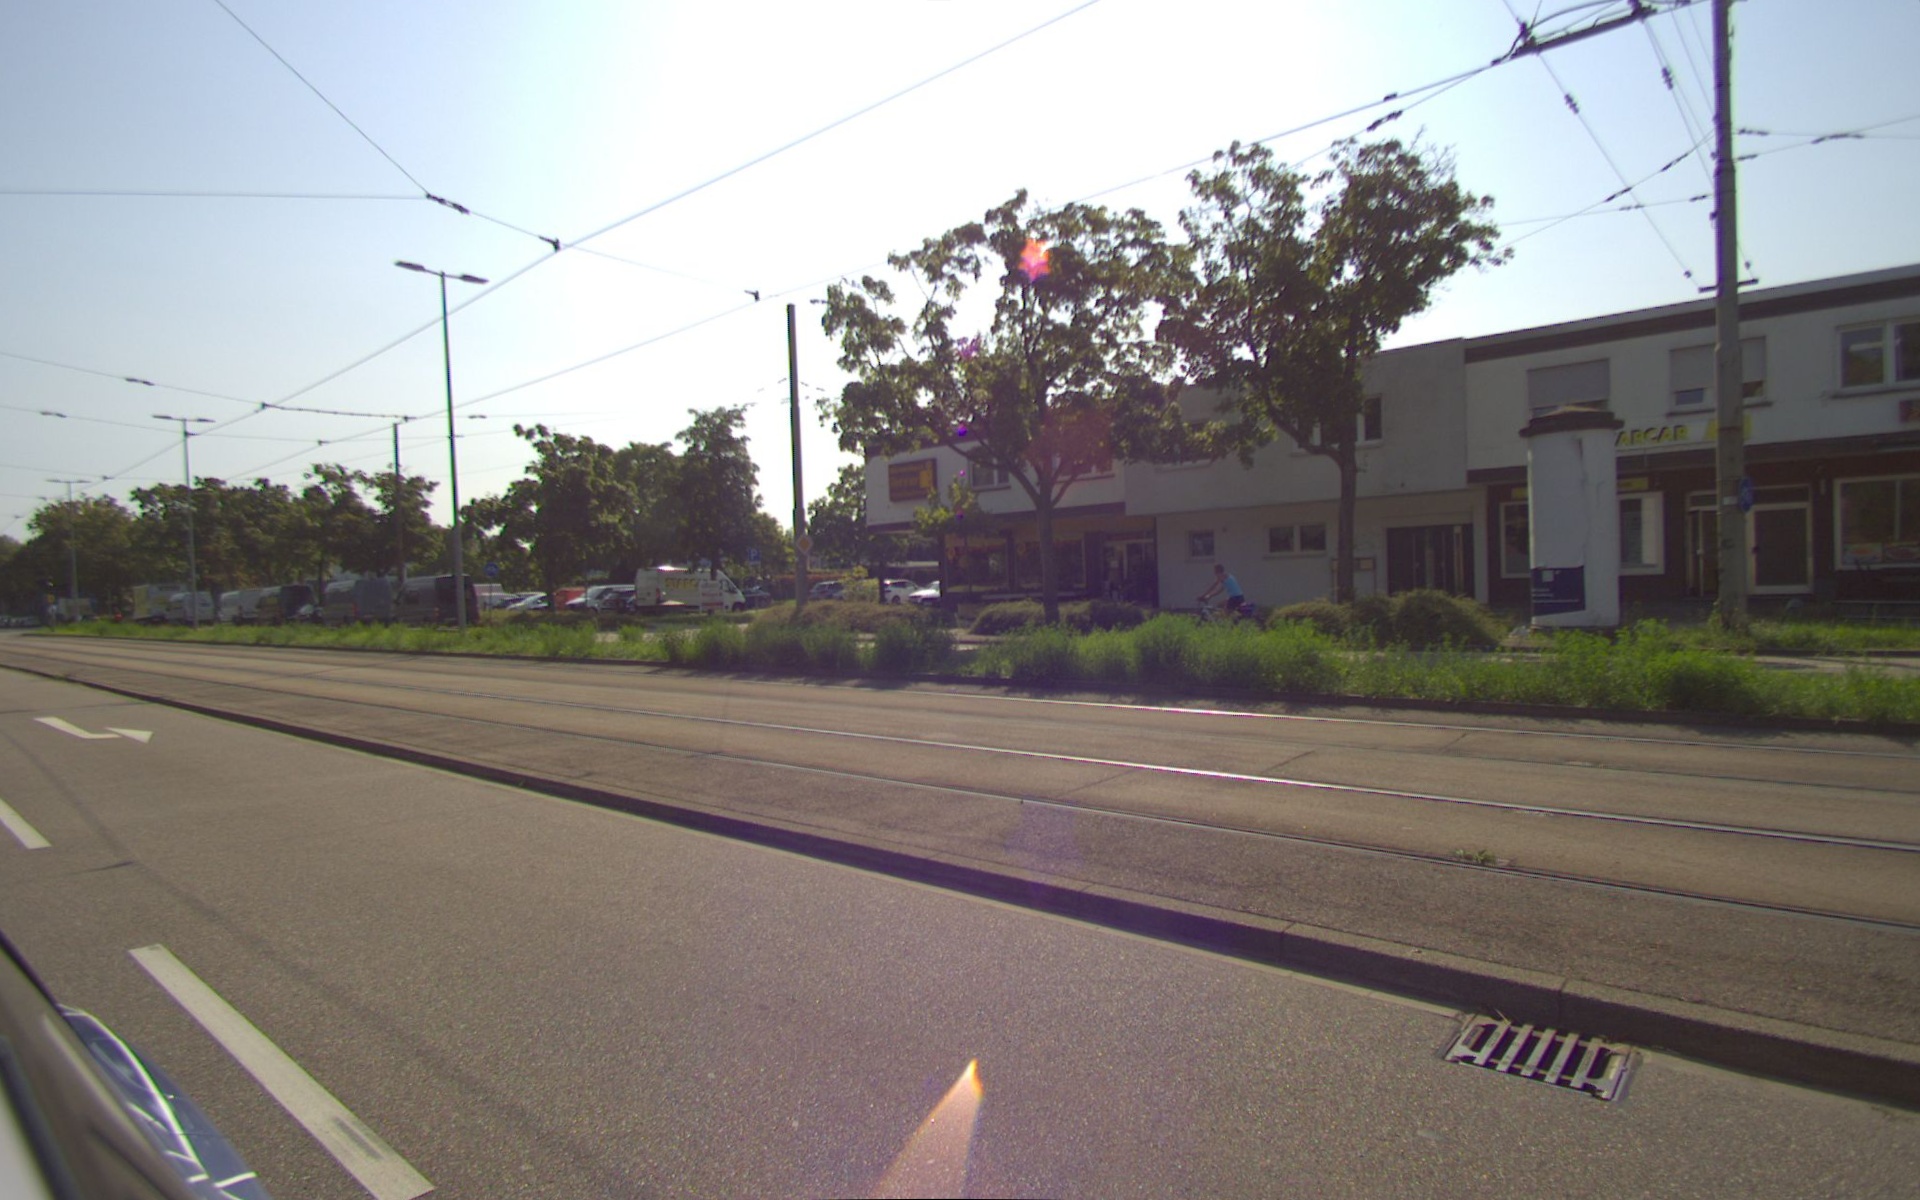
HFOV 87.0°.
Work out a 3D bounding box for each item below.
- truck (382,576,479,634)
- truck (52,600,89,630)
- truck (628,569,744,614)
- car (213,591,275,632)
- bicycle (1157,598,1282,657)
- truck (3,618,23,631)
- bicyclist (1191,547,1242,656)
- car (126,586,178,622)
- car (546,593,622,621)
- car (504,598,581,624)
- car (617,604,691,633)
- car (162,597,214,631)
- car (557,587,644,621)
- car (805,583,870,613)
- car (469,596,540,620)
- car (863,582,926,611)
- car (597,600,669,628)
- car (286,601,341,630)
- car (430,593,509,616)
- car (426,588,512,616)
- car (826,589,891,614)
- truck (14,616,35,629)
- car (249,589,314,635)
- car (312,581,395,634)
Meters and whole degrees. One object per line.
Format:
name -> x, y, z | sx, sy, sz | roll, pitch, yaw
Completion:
truck -> -24.746, 0.260, 47.198 | 5.735, 2.567, 2.060 | -1, 0, 41
truck -> -98.117, 1.692, 111.587 | 8.788, 3.145, 2.248 | -1, 0, 44
truck -> -13.950, -0.416, 51.836 | 2.258, 2.189, 5.435 | -1, 0, 39
car -> -47.539, 0.768, 67.132 | 5.629, 2.606, 2.110 | -1, 0, 42
bicycle -> 5.052, 0.526, 19.783 | 2.258, 1.099, 0.709 | -1, 0, 33
truck -> -128.960, 3.341, 137.867 | 3.654, 1.687, 1.669 | -1, 0, 42
bicyclist -> 5.021, 0.032, 19.812 | 0.772, 2.080, 0.632 | -1, 0, 32
car -> -66.075, 0.389, 82.719 | 7.228, 2.826, 2.102 | -1, 0, 42
car -> -21.770, 0.383, 58.704 | 1.632, 1.530, 3.884 | -1, 0, 39
car -> -25.525, 0.639, 61.942 | 1.622, 1.474, 4.118 | -2, 0, 37
car -> -16.062, 0.978, 53.246 | 1.632, 1.437, 3.370 | -1, 0, 39
car -> -58.437, 1.077, 76.614 | 4.828, 2.477, 2.121 | -1, 0, 40
car -> -19.995, 0.215, 56.429 | 1.632, 1.798, 4.354 | -1, 0, 39
car -> -7.689, -0.125, 63.532 | 3.759, 1.782, 1.760 | -1, 0, -44
car -> -29.454, 0.523, 65.529 | 1.632, 1.461, 3.884 | -1, 0, 39
car -> -3.835, -0.230, 59.353 | 1.874, 1.513, 3.415 | 0, 4, 38
car -> -17.606, 0.751, 54.560 | 1.632, 1.437, 3.370 | -1, 0, 39
car -> -37.000, 0.882, 57.871 | 3.834, 1.563, 1.726 | -1, 2, 44
car -> -33.406, 0.288, 69.081 | 1.632, 1.461, 4.607 | -1, 0, 39
car -> -34.947, 0.146, 72.073 | 2.051, 1.940, 5.133 | -1, 0, 39
car -> -6.054, 0.064, 60.761 | 3.661, 1.353, 1.493 | -3, 1, -42
truck -> -121.328, 2.933, 131.267 | 3.654, 1.687, 1.669 | -1, 0, 42
car -> -41.501, 0.748, 61.814 | 5.908, 2.605, 1.803 | -2, 2, 42
car -> -32.237, 0.402, 53.722 | 6.467, 2.605, 1.967 | -1, 2, 43
